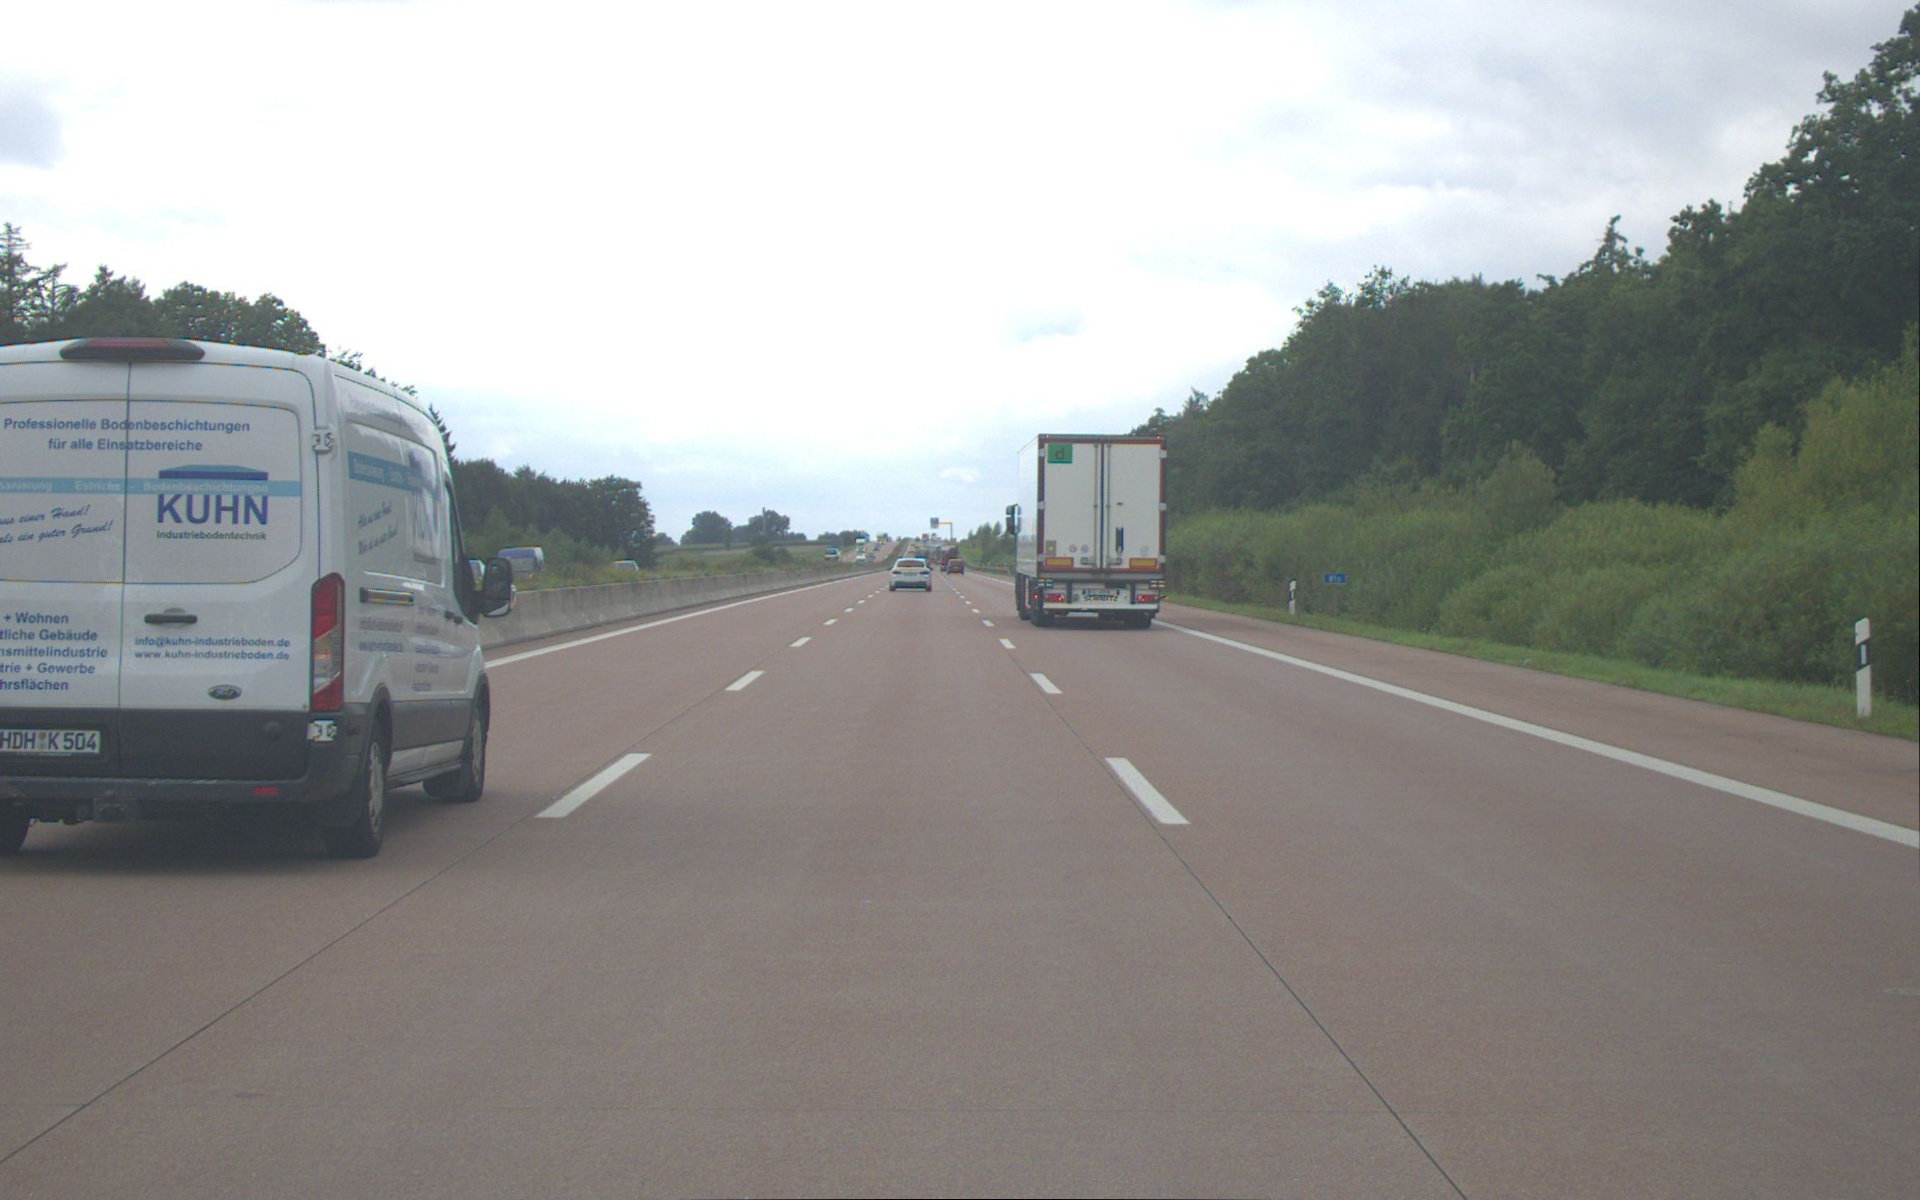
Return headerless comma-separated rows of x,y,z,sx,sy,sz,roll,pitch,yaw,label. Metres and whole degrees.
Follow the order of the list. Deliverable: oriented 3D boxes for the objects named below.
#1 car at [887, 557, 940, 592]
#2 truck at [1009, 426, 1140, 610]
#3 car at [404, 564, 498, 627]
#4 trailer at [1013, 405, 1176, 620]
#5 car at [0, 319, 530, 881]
-2.042,-1.141,153.246,2.163,1.446,4.719,2,1,1,car
2.710,-1.955,83.095,2.921,4.279,5.335,0,1,0,truck
-17.080,-0.186,115.720,2.346,2.023,5.855,1,1,-1,car
2.790,-1.835,75.504,2.921,4.279,13.614,0,1,0,trailer
-3.845,-0.074,18.832,2.137,2.498,7.132,0,1,0,car
